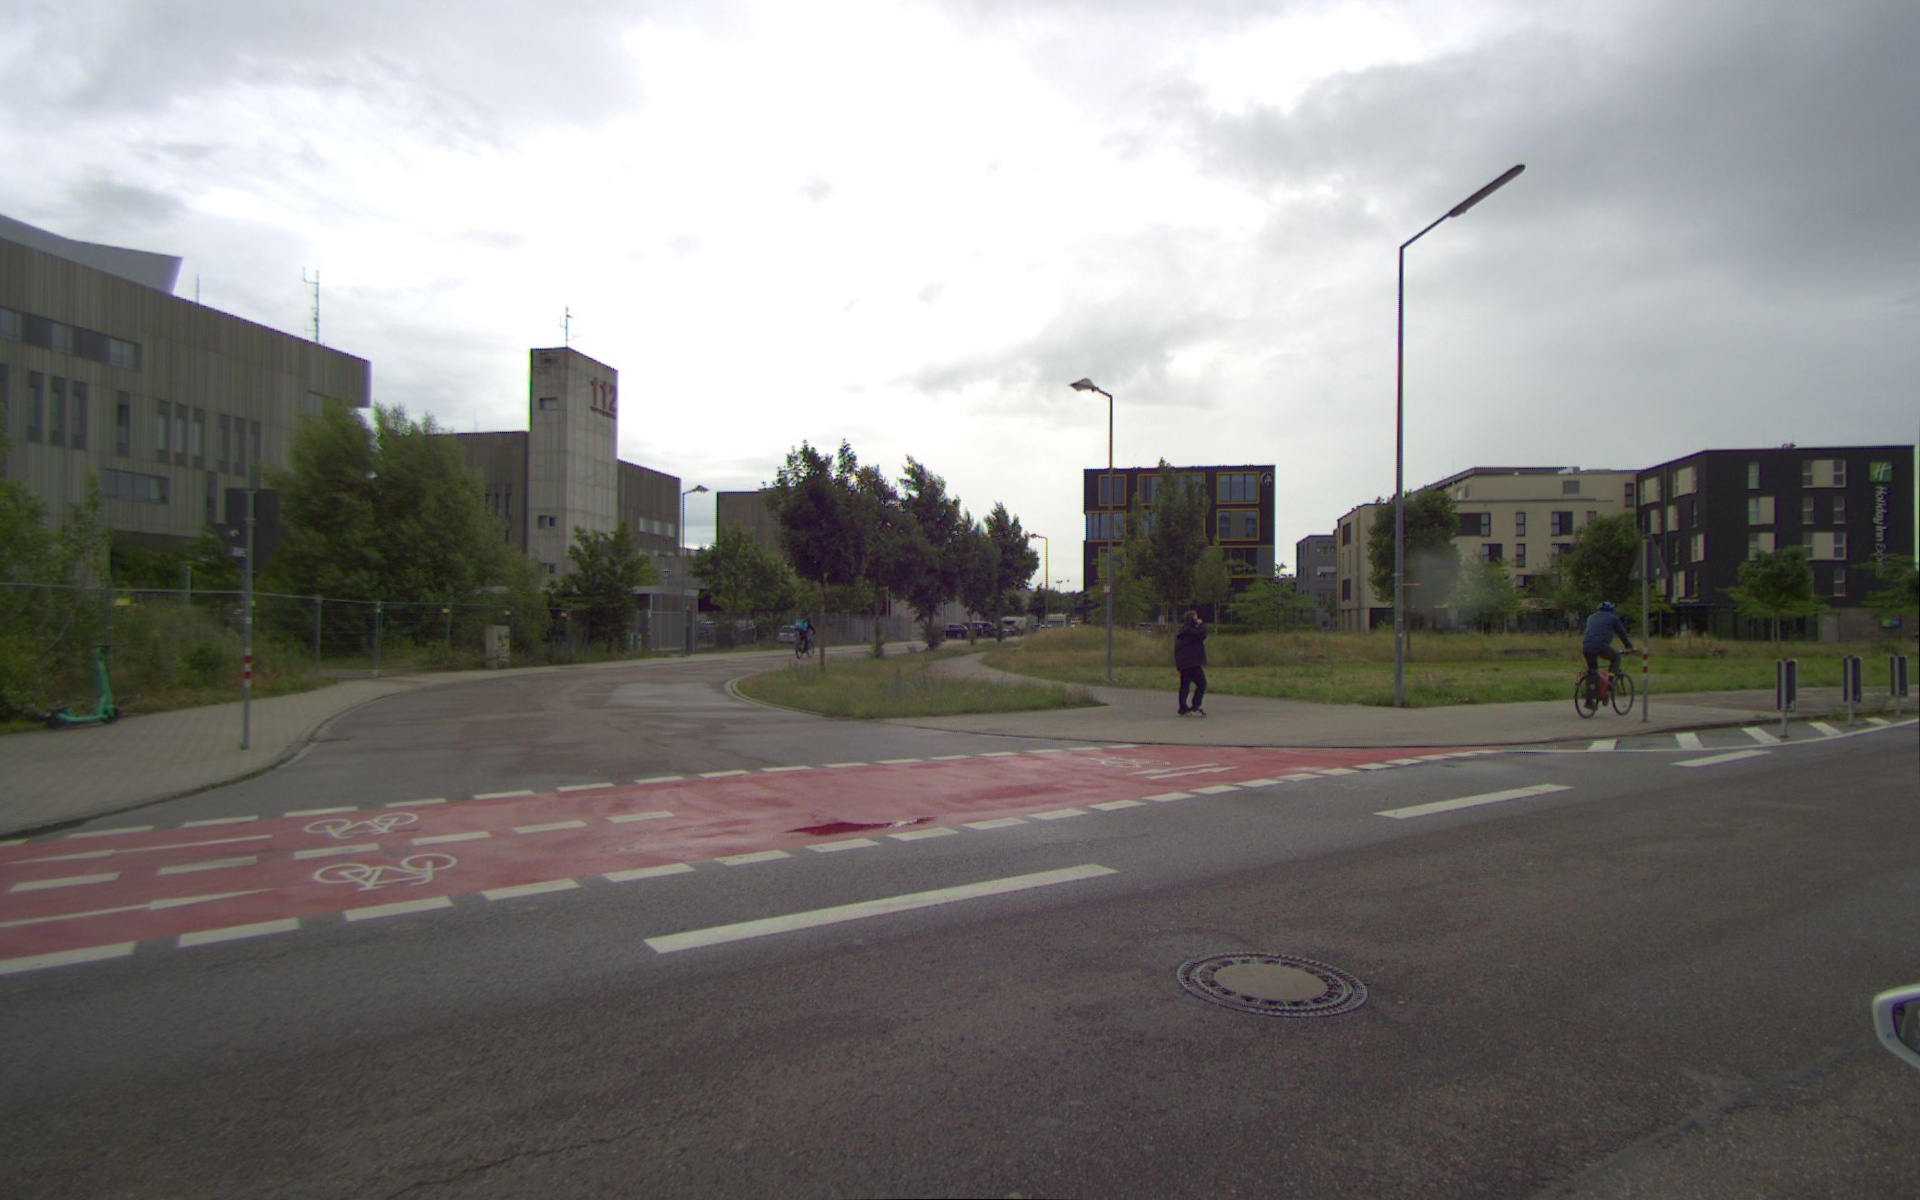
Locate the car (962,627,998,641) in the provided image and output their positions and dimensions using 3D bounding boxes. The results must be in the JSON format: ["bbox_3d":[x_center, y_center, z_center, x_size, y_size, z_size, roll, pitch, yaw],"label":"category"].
[{"bbox_3d":[2.357,4.011,119.111,4.170,1.595,2.001,0,-1,4],"label":"car"}]

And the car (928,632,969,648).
[{"bbox_3d":[-1.148,4.087,101.855,3.919,1.543,2.002,-1,-3,5],"label":"car"}]

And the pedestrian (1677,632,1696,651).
[{"bbox_3d":[61.269,3.466,84.745,0.859,1.591,0.953,-1,-1,-6],"label":"pedestrian"}]

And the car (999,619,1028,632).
[{"bbox_3d":[7.698,3.634,144.532,4.170,1.795,2.001,0,-1,4],"label":"car"}]

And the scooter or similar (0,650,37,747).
[{"bbox_3d":[-12.188,1.200,11.806,0.644,1.157,1.904,0,-1,15],"label":"scooter or similar"}]

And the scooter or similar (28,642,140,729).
[{"bbox_3d":[-12.598,1.198,14.491,0.403,1.157,1.338,1,-1,0],"label":"scooter or similar"}]

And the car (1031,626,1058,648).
[{"bbox_3d":[8.017,3.466,94.962,2.163,1.888,5.102,-1,-1,9],"label":"car"}]

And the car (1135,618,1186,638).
[{"bbox_3d":[16.471,2.339,82.758,3.919,1.543,2.002,-1,-3,5],"label":"car"}]

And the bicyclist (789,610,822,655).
[{"bbox_3d":[-6.859,1.444,44.600,1.055,1.924,1.403,-1,-1,9],"label":"bicyclist"}]

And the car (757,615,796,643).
[{"bbox_3d":[-14.201,2.250,77.921,1.960,2.040,4.002,-1,-1,5],"label":"car"}]

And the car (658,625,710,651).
[{"bbox_3d":[-19.513,2.688,71.231,1.778,1.762,4.002,0,-2,15],"label":"car"}]

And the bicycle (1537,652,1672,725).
[{"bbox_3d":[10.794,1.441,16.795,2.440,1.066,0.879,0,-1,-30],"label":"bicycle"}]

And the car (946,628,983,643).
[{"bbox_3d":[0.484,3.893,109.497,3.919,1.543,1.812,-1,-3,5],"label":"car"}]

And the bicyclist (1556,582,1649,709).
[{"bbox_3d":[10.727,0.739,16.769,1.164,2.040,0.857,0,-1,-31],"label":"bicyclist"}]

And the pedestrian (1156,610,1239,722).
[{"bbox_3d":[3.995,1.087,16.922,1.066,1.806,0.838,0,-1,-35],"label":"pedestrian"}]

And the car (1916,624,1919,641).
[{"bbox_3d":[90.943,2.971,92.338,4.070,1.537,2.001,-1,-1,3],"label":"car"}]

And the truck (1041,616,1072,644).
[{"bbox_3d":[10.062,3.114,104.455,2.782,2.742,7.324,-1,-1,9],"label":"truck"}]

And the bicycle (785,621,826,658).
[{"bbox_3d":[-6.847,1.733,44.618,1.064,1.605,2.502,-1,-1,9],"label":"bicycle"}]
